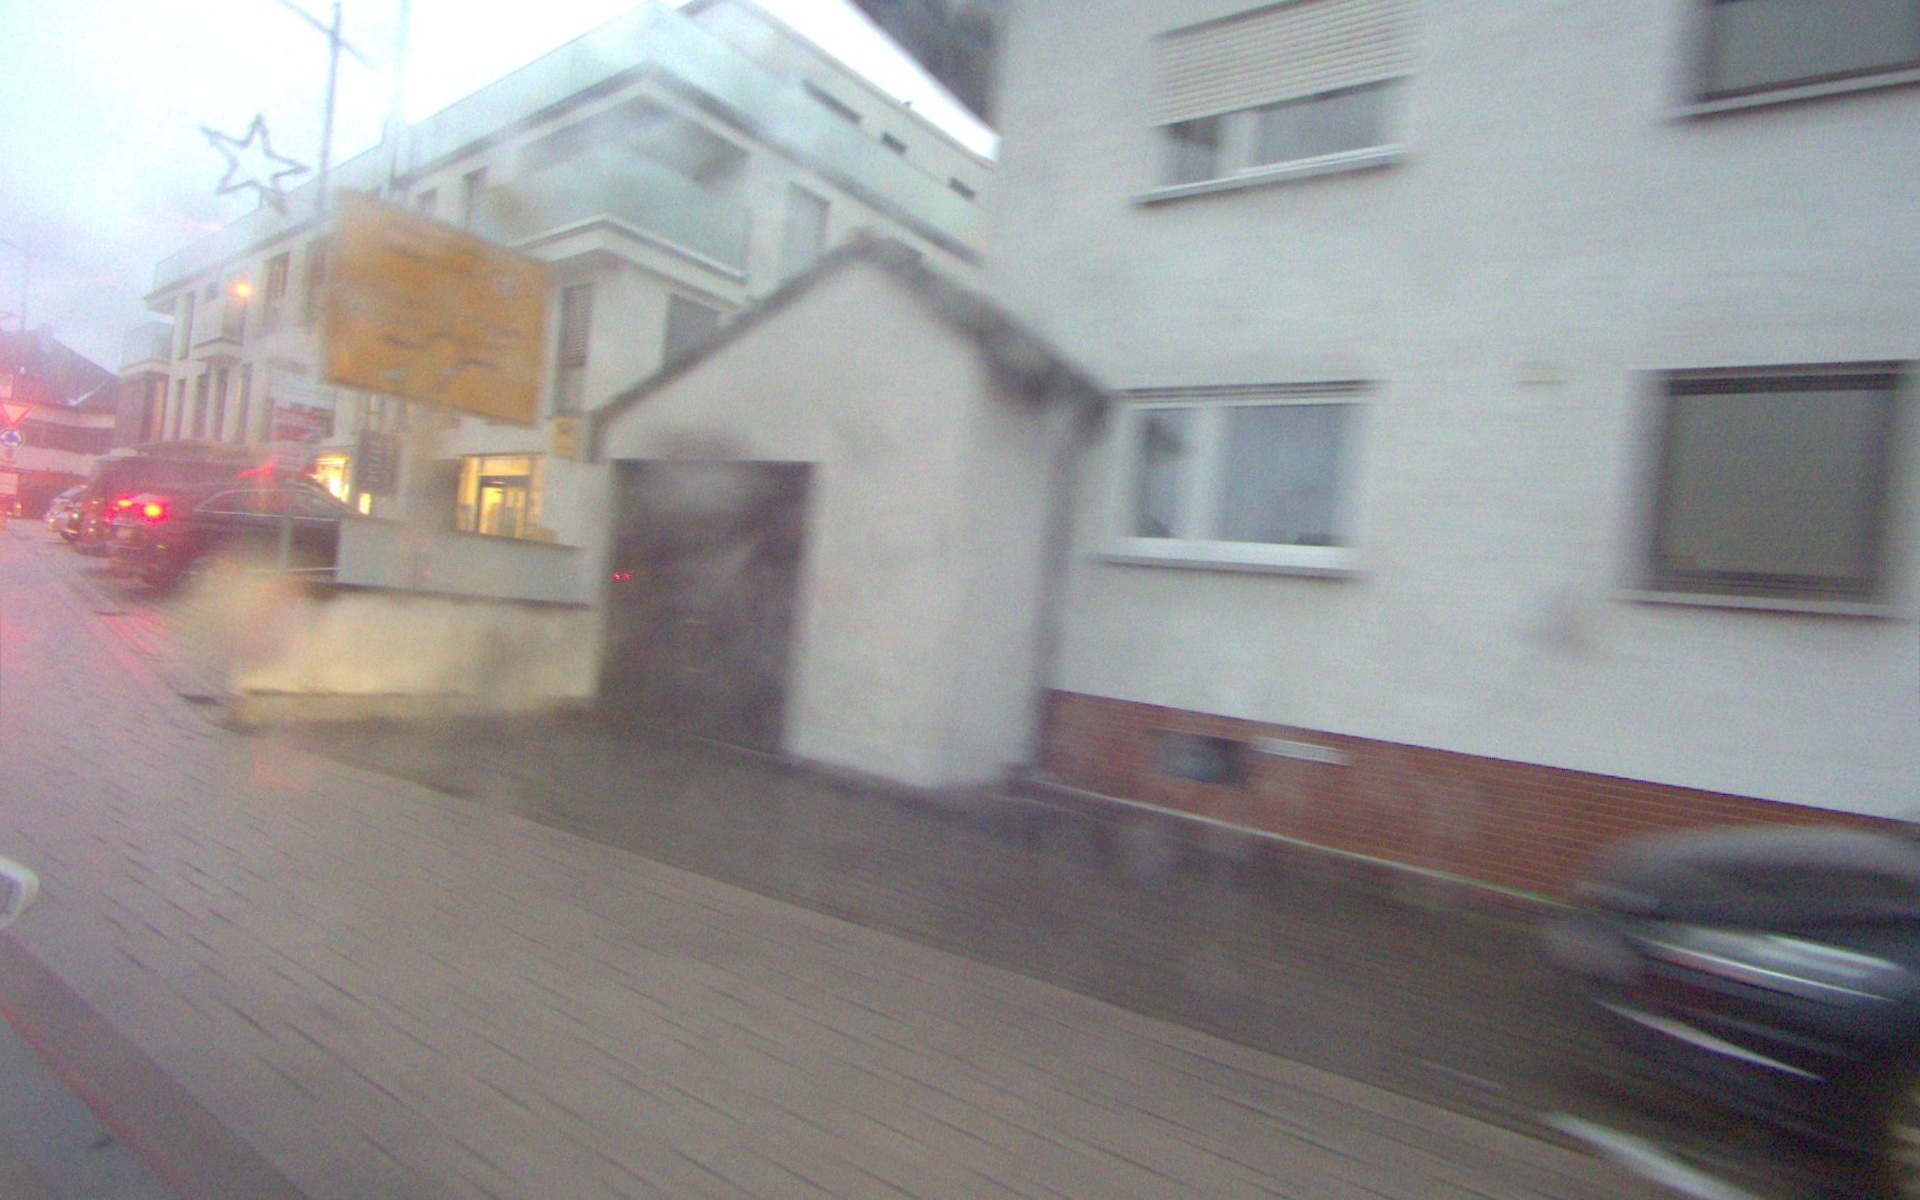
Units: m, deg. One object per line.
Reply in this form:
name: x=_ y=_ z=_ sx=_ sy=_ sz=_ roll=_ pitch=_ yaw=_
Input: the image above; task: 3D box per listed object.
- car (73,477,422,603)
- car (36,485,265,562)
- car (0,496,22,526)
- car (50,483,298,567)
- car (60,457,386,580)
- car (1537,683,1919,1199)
car: x=-11.080 y=-0.950 z=15.979 sx=1.774 sy=1.663 sz=4.169 roll=7 pitch=6 yaw=32
car: x=-20.518 y=-1.909 z=25.666 sx=1.764 sy=1.479 sz=4.204 roll=6 pitch=2 yaw=34
car: x=-50.563 y=-4.740 z=52.997 sx=3.554 sy=1.432 sz=1.559 roll=6 pitch=3 yaw=45
car: x=-18.264 y=-1.710 z=23.568 sx=1.764 sy=1.479 sz=4.204 roll=6 pitch=2 yaw=34
car: x=-13.508 y=-1.416 z=18.693 sx=1.921 sy=1.947 sz=4.551 roll=6 pitch=4 yaw=38
car: x=4.178 y=1.255 z=3.044 sx=3.841 sy=1.412 sz=1.770 roll=6 pitch=1 yaw=20
